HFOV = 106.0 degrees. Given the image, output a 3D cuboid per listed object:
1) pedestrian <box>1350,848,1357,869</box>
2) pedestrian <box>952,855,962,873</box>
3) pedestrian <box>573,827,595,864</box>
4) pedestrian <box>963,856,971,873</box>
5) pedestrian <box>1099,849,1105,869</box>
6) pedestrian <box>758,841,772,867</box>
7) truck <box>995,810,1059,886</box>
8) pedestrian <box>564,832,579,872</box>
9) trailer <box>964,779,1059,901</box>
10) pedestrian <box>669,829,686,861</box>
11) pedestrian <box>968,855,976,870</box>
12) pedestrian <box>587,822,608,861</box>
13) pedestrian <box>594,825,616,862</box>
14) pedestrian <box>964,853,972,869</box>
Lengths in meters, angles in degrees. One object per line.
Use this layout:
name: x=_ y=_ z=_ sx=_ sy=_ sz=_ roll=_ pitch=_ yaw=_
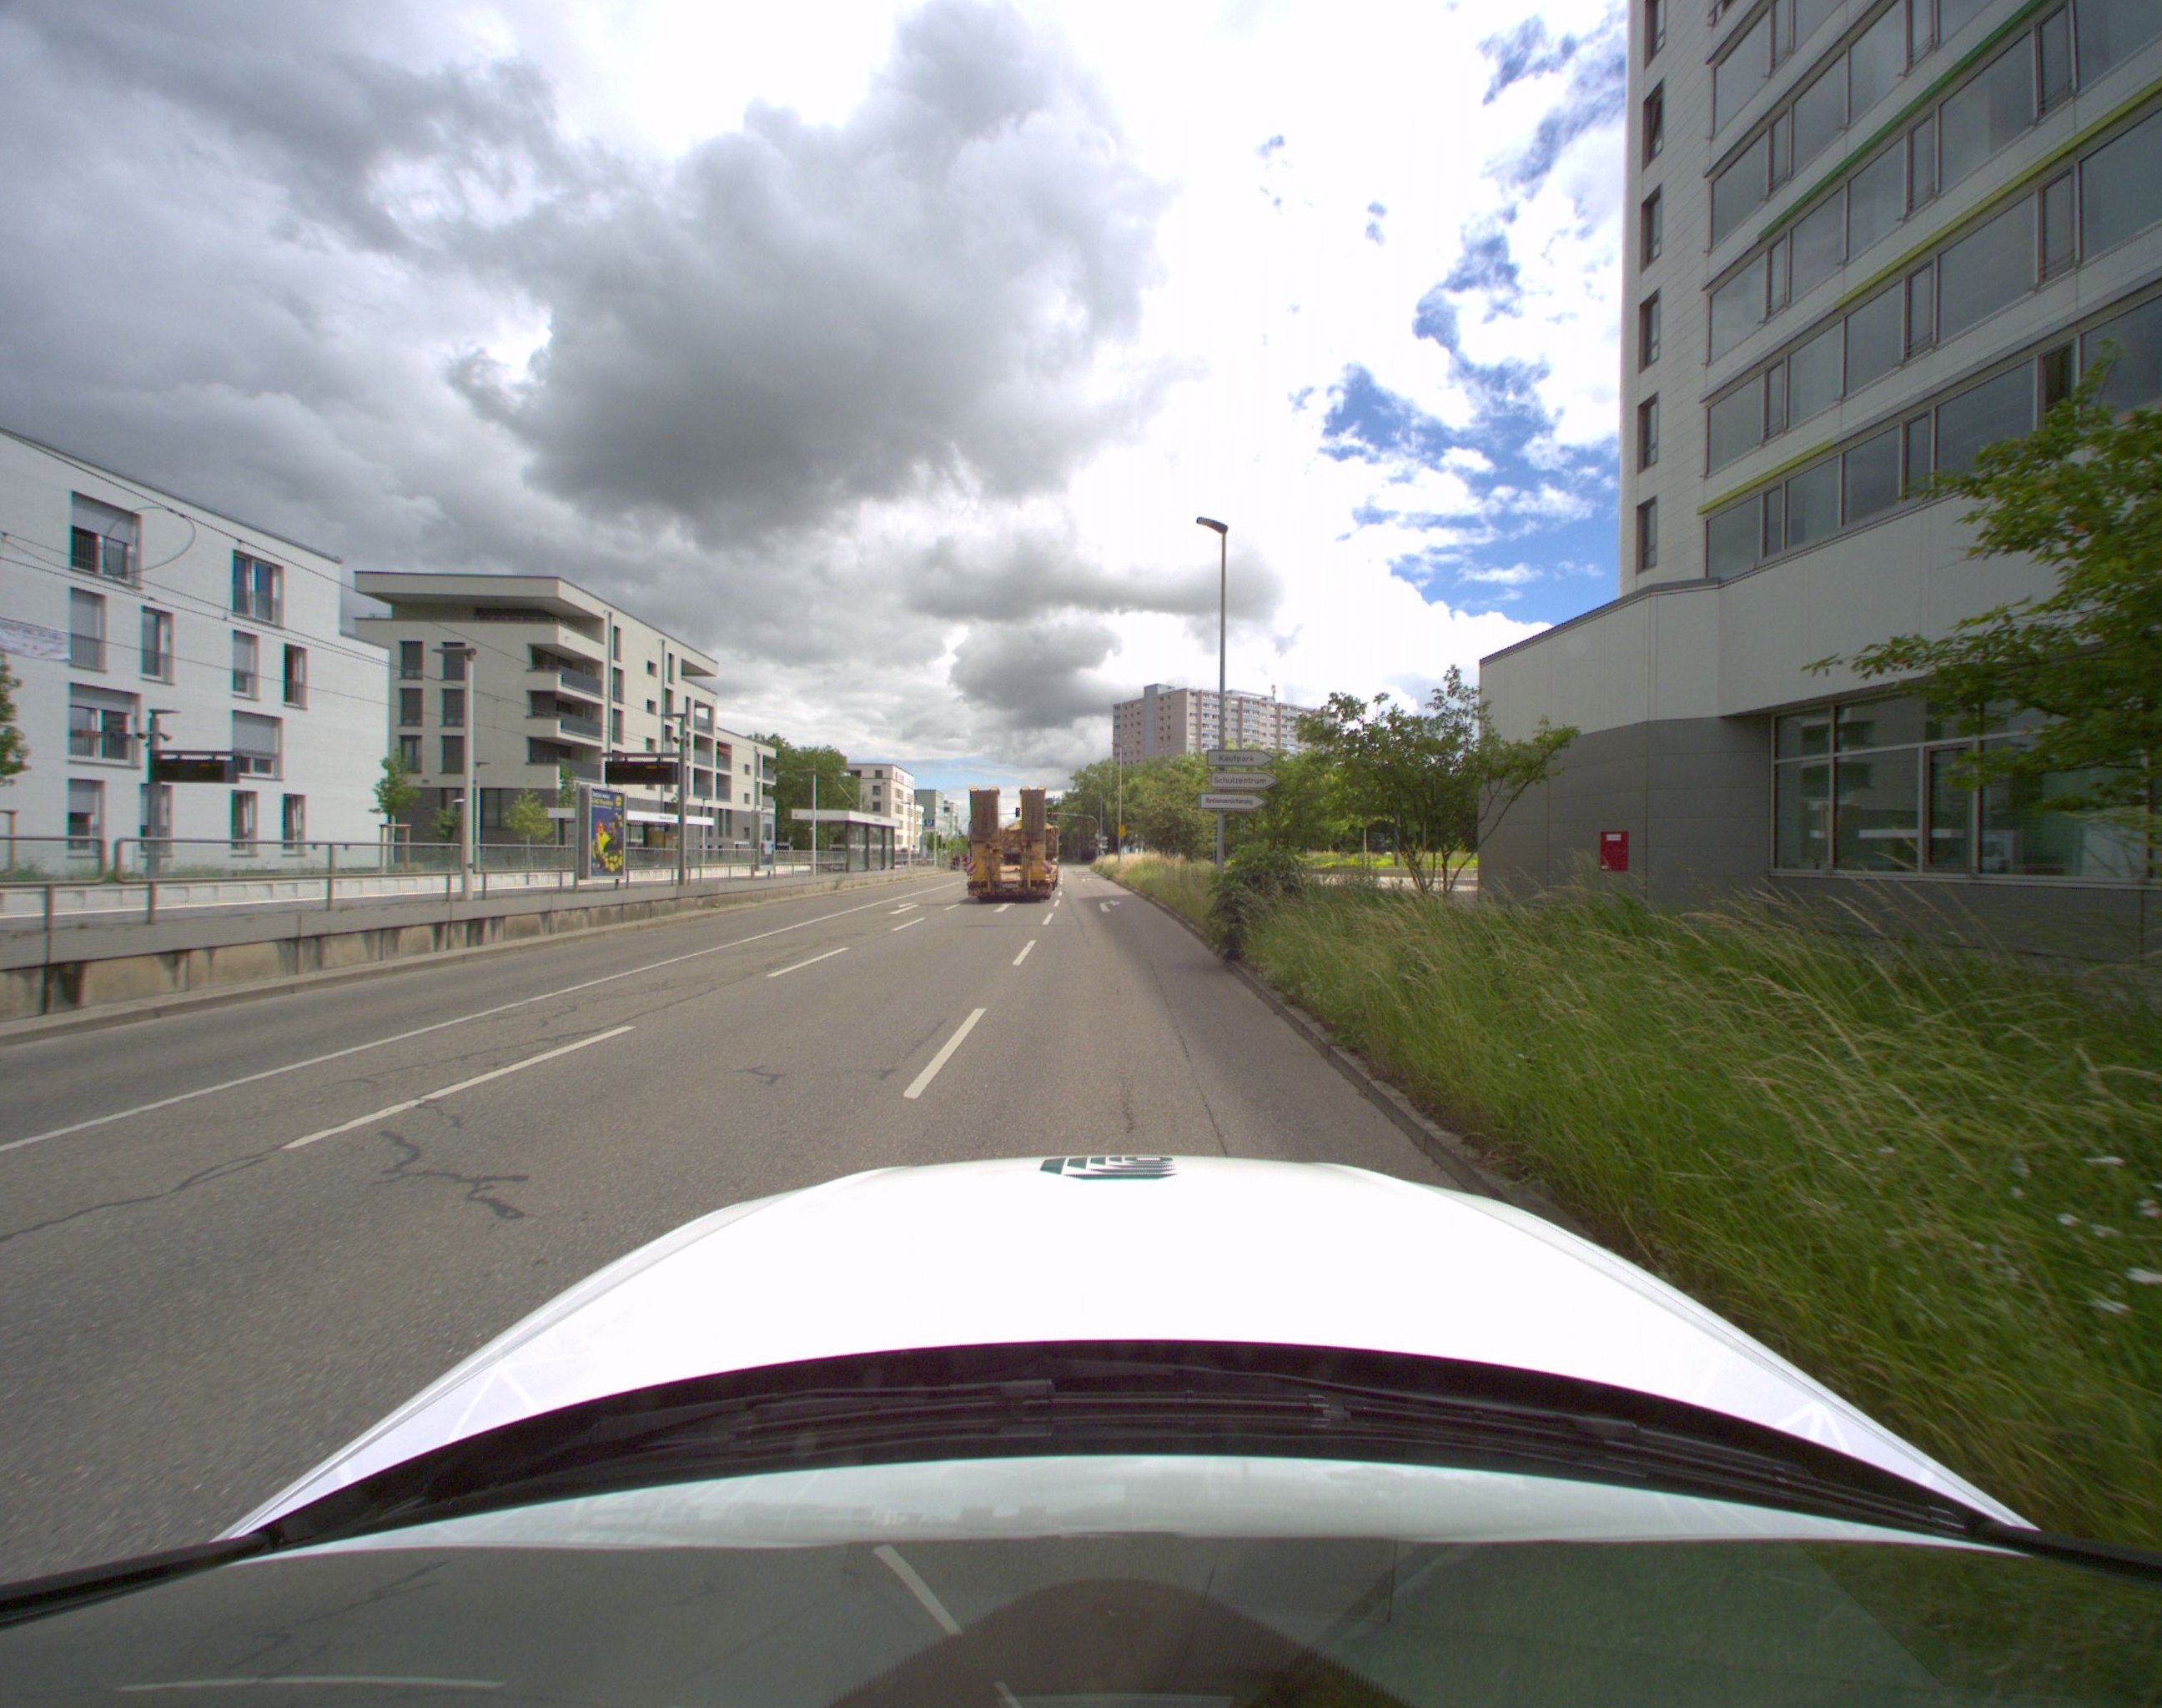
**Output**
pedestrian: x=26.140 y=0.444 z=78.151 sx=0.574 sy=1.951 sz=0.405 roll=0 pitch=0 yaw=-1
pedestrian: x=-12.103 y=0.974 z=79.472 sx=0.818 sy=1.668 sz=0.683 roll=0 pitch=0 yaw=-1
pedestrian: x=-21.522 y=-0.355 z=35.275 sx=0.483 sy=1.596 sz=0.682 roll=0 pitch=-1 yaw=41
pedestrian: x=-11.254 y=1.022 z=80.609 sx=0.679 sy=1.603 sz=0.822 roll=0 pitch=0 yaw=-3
pedestrian: x=2.165 y=0.549 z=83.367 sx=0.561 sy=2.014 sz=0.490 roll=0 pitch=-1 yaw=-11
pedestrian: x=-22.321 y=0.007 z=57.496 sx=0.674 sy=1.766 sz=0.932 roll=0 pitch=0 yaw=-4
truck: x=-2.443 y=-0.248 z=39.365 sx=2.746 sy=3.313 sz=8.346 roll=0 pitch=0 yaw=-2
pedestrian: x=-22.219 y=-0.099 z=35.500 sx=0.491 sy=1.725 sz=0.670 roll=1 pitch=-1 yaw=-36
trailer: x=-2.189 y=-0.391 z=29.543 sx=2.721 sy=3.559 sz=11.247 roll=0 pitch=0 yaw=-1
pedestrian: x=-22.254 y=-0.507 z=44.891 sx=0.559 sy=1.766 sz=0.677 roll=0 pitch=0 yaw=0
pedestrian: x=-11.166 y=0.874 z=83.454 sx=0.679 sy=1.603 sz=0.822 roll=0 pitch=0 yaw=-3
pedestrian: x=-22.166 y=-0.552 z=37.343 sx=0.482 sy=1.766 sz=0.682 roll=0 pitch=-1 yaw=33
pedestrian: x=-21.130 y=-0.468 z=36.125 sx=0.482 sy=1.596 sz=0.682 roll=0 pitch=-1 yaw=33
pedestrian: x=-11.280 y=0.710 z=81.476 sx=0.679 sy=1.603 sz=0.822 roll=0 pitch=0 yaw=-3
